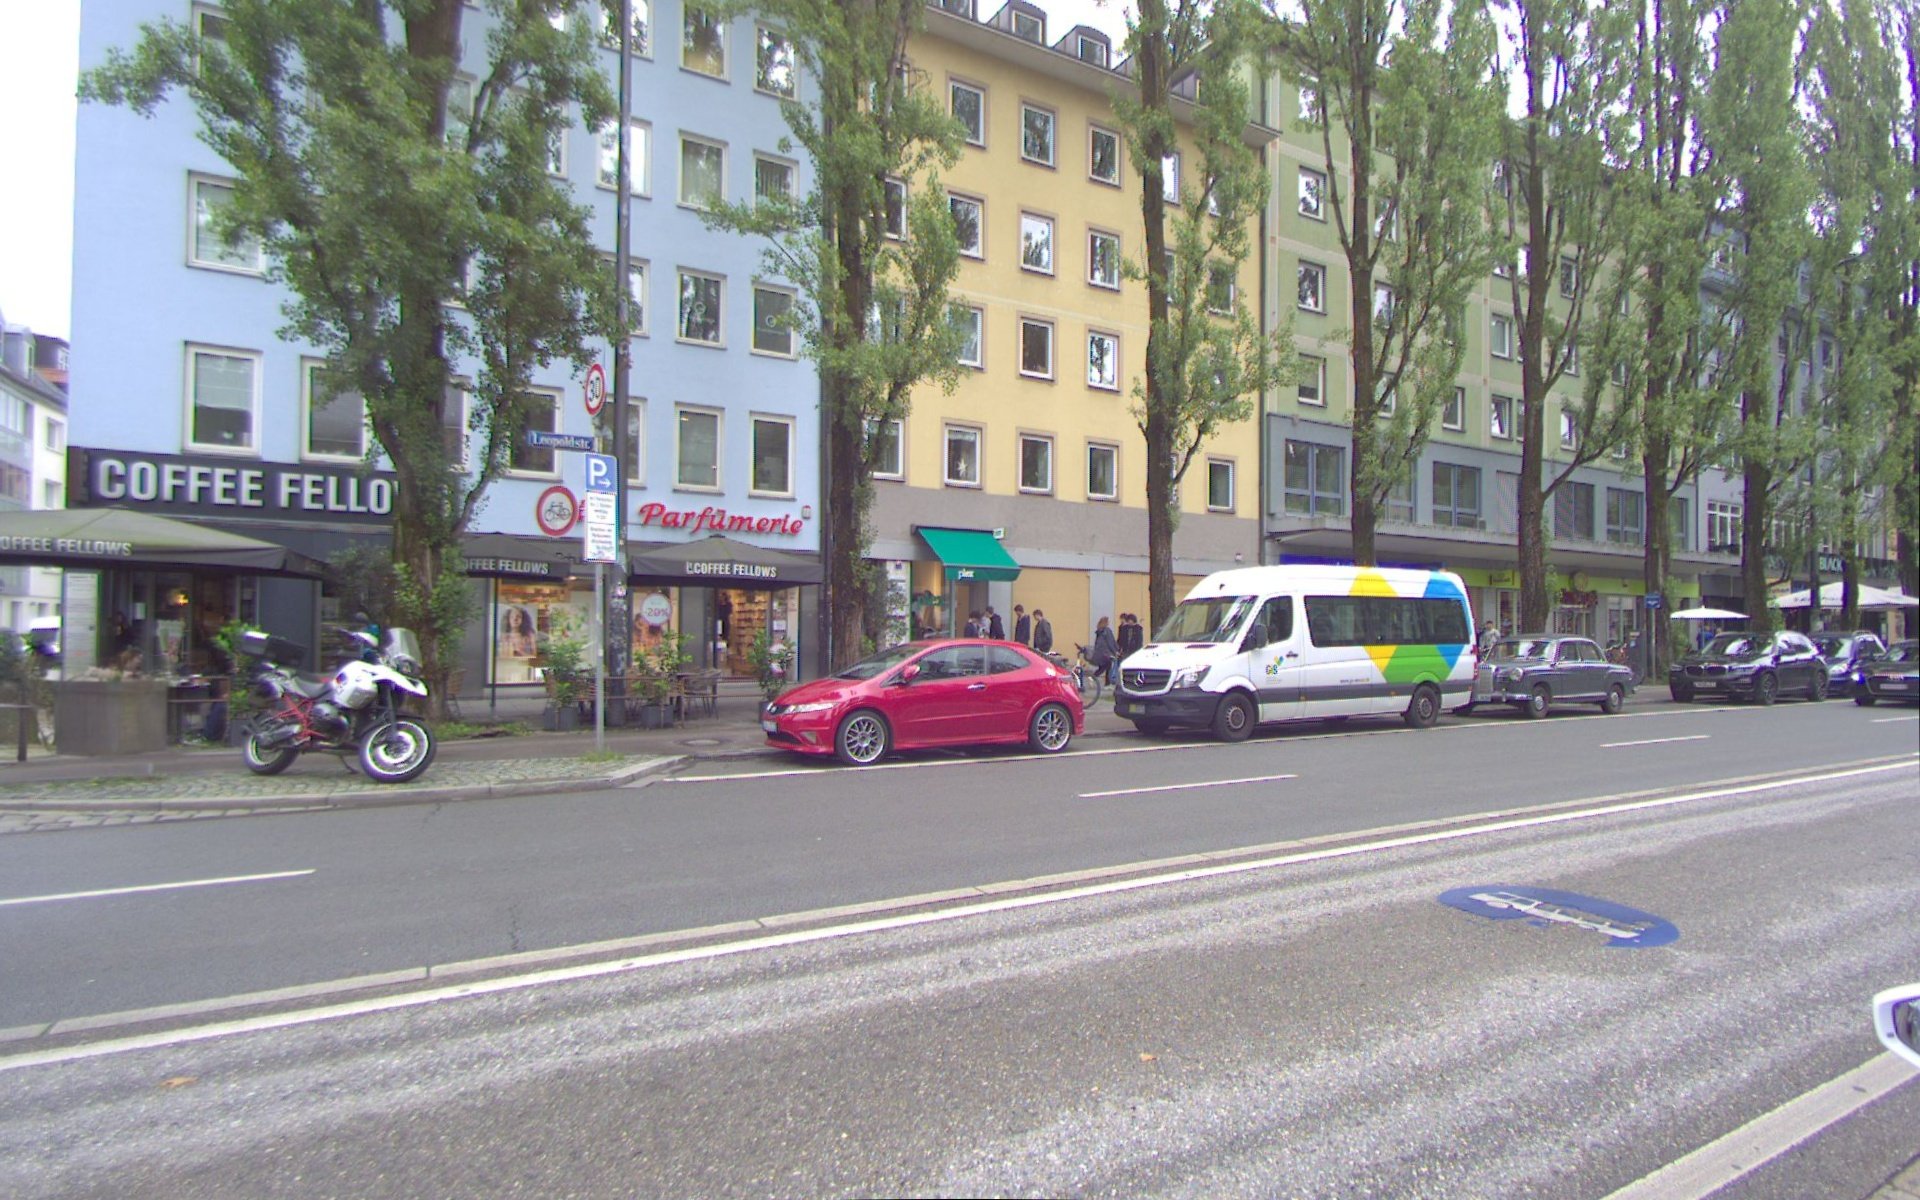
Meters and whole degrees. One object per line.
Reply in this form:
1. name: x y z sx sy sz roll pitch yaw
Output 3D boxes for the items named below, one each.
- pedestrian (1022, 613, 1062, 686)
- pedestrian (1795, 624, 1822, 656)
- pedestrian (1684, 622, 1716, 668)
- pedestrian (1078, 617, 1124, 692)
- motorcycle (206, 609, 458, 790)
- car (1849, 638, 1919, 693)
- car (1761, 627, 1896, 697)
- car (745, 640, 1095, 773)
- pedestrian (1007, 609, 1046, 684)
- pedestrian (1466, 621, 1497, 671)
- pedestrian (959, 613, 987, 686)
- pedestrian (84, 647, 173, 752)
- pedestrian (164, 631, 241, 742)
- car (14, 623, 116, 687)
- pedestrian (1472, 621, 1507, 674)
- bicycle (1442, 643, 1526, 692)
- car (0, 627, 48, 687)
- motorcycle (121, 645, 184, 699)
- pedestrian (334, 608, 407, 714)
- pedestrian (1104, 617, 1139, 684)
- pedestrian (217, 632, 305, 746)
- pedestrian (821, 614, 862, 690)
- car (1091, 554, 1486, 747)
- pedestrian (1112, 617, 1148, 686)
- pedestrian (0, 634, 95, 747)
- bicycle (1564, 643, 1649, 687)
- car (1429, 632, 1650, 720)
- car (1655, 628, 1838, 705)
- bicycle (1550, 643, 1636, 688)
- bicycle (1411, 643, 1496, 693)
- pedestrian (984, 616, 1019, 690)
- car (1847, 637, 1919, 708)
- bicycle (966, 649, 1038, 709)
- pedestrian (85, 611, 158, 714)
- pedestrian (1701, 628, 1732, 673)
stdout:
1. pedestrian: 1.968 1.184 24.242 0.717 1.722 0.695 1 -2 -25
2. pedestrian: 39.337 1.860 46.547 0.792 1.428 0.760 2 0 -35
3. pedestrian: 28.299 1.724 38.426 0.667 1.708 0.753 2 -2 -29
4. pedestrian: 3.256 1.248 23.227 0.775 1.708 0.753 1 -2 -27
5. motorcycle: -6.039 0.900 9.657 2.301 1.584 0.715 1 -1 18
6. car: 28.068 1.888 29.387 4.299 1.508 1.790 1 -3 -30
7. car: 23.153 1.630 26.755 3.880 1.743 1.700 1 -3 -33
8. car: -0.457 1.234 12.678 4.100 1.438 1.729 1 -3 -30
9. pedestrian: 1.646 1.142 24.909 0.717 1.818 0.695 1 -2 -25
10. pedestrian: 18.041 1.583 34.763 0.749 1.708 0.670 2 -2 -29
11. pedestrian: 0.298 1.147 23.233 0.553 1.657 0.699 0 -2 -6
12. pedestrian: -10.081 1.180 12.203 0.692 1.198 0.811 1 -2 -31
13. pedestrian: -9.760 1.093 12.967 0.692 1.380 0.709 1 -2 -32
14. car: -35.257 2.166 39.734 1.959 2.396 4.554 1 -3 -29
15. pedestrian: 17.300 1.548 32.836 0.667 1.708 0.753 2 -2 -29
16. bicycle: 13.528 1.716 25.987 0.710 1.110 1.862 1 1 -27
17. car: -30.515 1.769 31.327 2.093 1.789 4.551 1 -3 -30
18. motorcycle: -19.994 1.760 24.929 0.729 1.219 2.748 -1 -1 -28
19. pedestrian: -9.549 0.974 16.307 0.938 1.668 0.695 1 -2 -27
20. pedestrian: 4.204 1.318 26.178 0.713 1.722 0.699 0 -2 -9
21. pedestrian: -8.799 1.092 12.678 0.838 1.380 0.694 1 -2 -31
22. pedestrian: -2.660 1.157 22.517 0.718 1.657 0.695 1 -2 -28
23. car: 5.430 0.786 16.133 6.831 2.601 1.996 1 -3 -30
24. pedestrian: 4.313 1.290 25.458 0.713 1.722 0.699 0 -2 -9
25. pedestrian: -11.676 1.130 12.797 0.808 1.380 0.695 1 -2 -27
26. bicycle: 18.815 1.872 29.284 0.712 1.110 1.933 1 1 -36
27. car: 11.447 1.439 19.789 4.362 1.572 1.858 1 -3 -30
28. car: 18.692 1.538 23.826 4.557 1.686 1.858 1 -3 -30
29. bicycle: 18.138 1.856 28.812 0.712 1.110 1.933 1 1 -36
30. bicycle: 12.399 1.693 25.289 0.710 1.110 1.862 1 1 -27
31. pedestrian: 0.935 1.191 22.805 0.713 1.657 0.699 0 -2 -6
32. car: 21.980 1.586 22.555 4.657 1.481 1.690 1 -3 -30
33. bicycle: 0.768 1.458 18.876 0.416 1.040 1.764 1 -2 -32
34. pedestrian: -14.990 1.101 17.954 0.933 1.796 0.699 -1 -2 30
35. pedestrian: 29.449 1.957 39.122 0.667 1.708 0.753 2 -2 -29
